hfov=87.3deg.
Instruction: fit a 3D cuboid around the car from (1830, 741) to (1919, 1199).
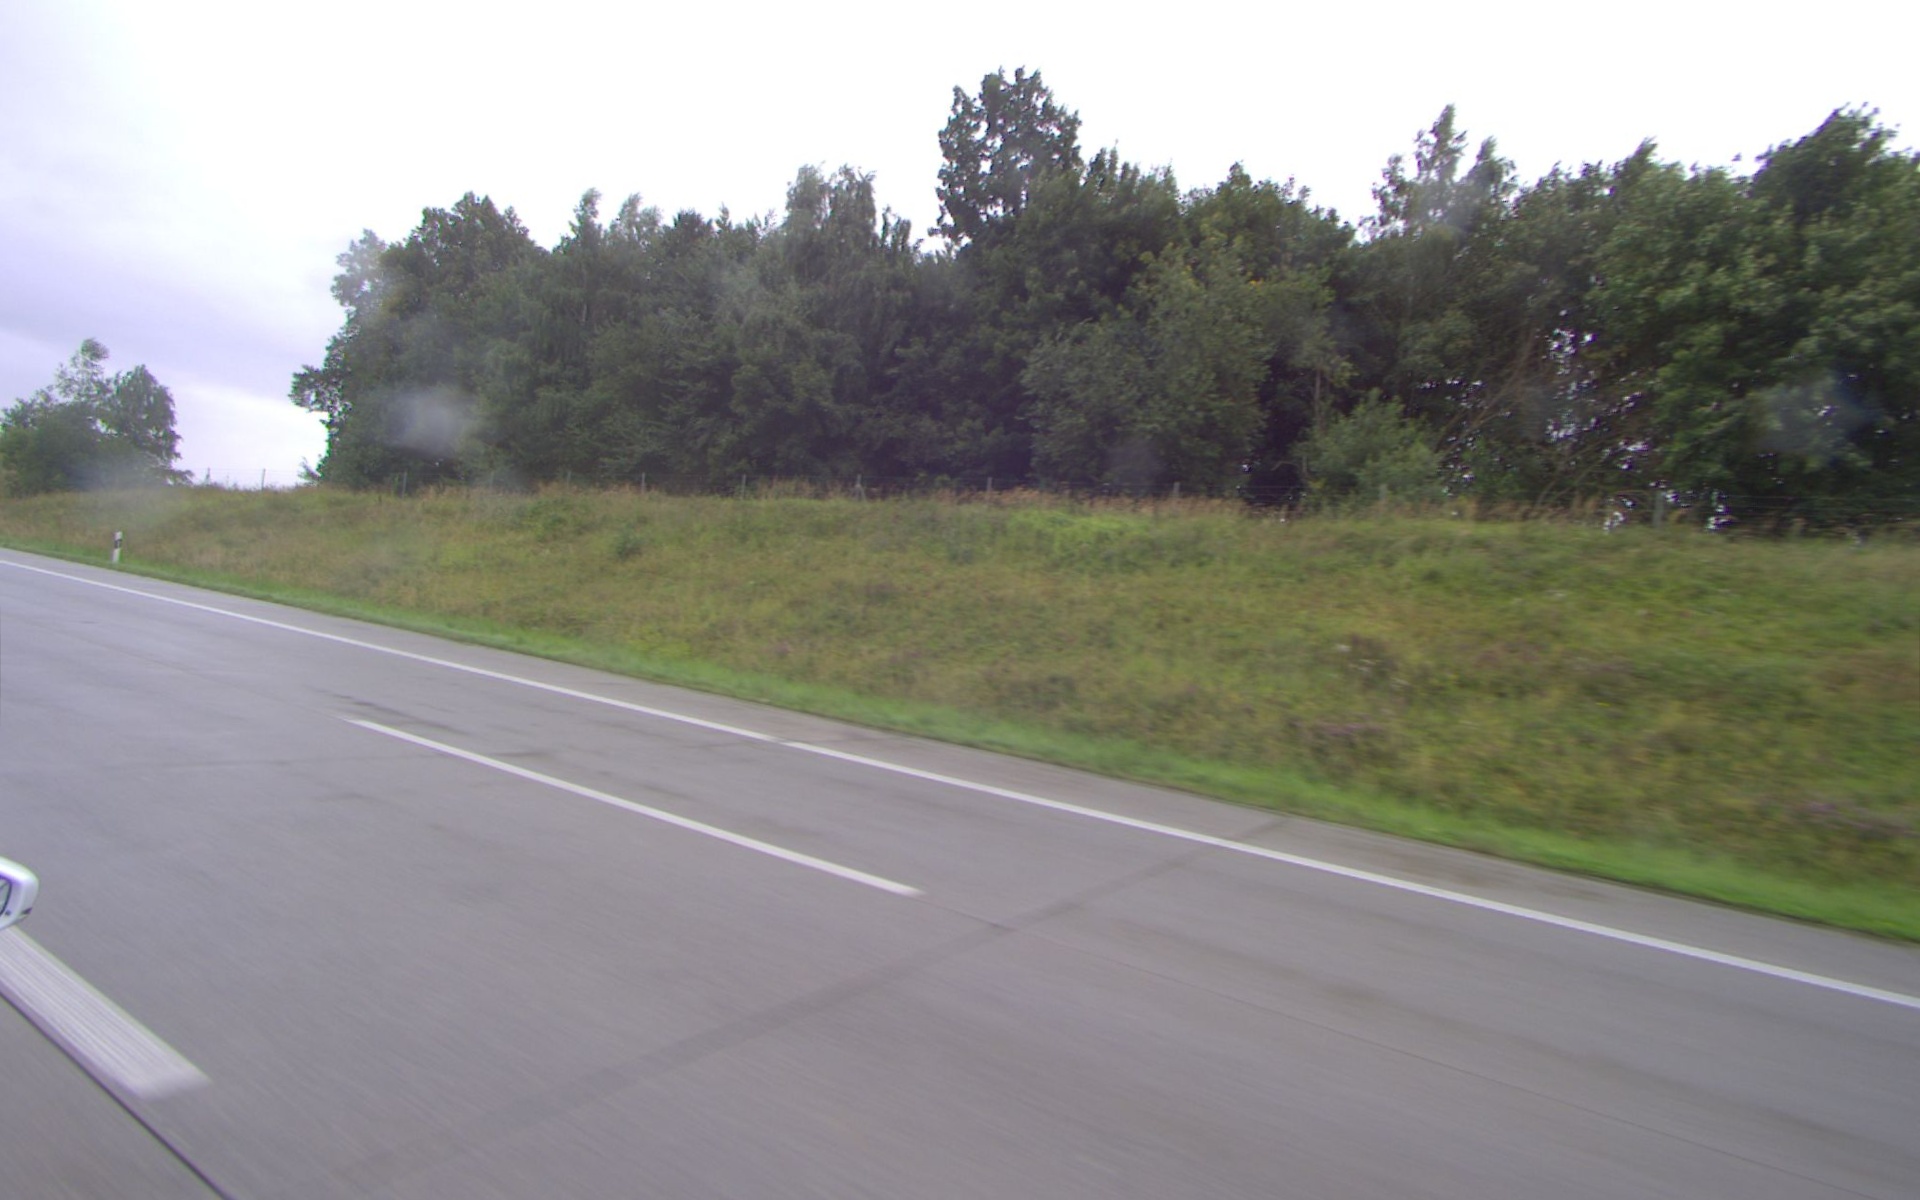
[{"bbox_3d":[3.926,1.258,0.786,4.595,1.476,1.731,6,-1,32],"label":"car"}]
